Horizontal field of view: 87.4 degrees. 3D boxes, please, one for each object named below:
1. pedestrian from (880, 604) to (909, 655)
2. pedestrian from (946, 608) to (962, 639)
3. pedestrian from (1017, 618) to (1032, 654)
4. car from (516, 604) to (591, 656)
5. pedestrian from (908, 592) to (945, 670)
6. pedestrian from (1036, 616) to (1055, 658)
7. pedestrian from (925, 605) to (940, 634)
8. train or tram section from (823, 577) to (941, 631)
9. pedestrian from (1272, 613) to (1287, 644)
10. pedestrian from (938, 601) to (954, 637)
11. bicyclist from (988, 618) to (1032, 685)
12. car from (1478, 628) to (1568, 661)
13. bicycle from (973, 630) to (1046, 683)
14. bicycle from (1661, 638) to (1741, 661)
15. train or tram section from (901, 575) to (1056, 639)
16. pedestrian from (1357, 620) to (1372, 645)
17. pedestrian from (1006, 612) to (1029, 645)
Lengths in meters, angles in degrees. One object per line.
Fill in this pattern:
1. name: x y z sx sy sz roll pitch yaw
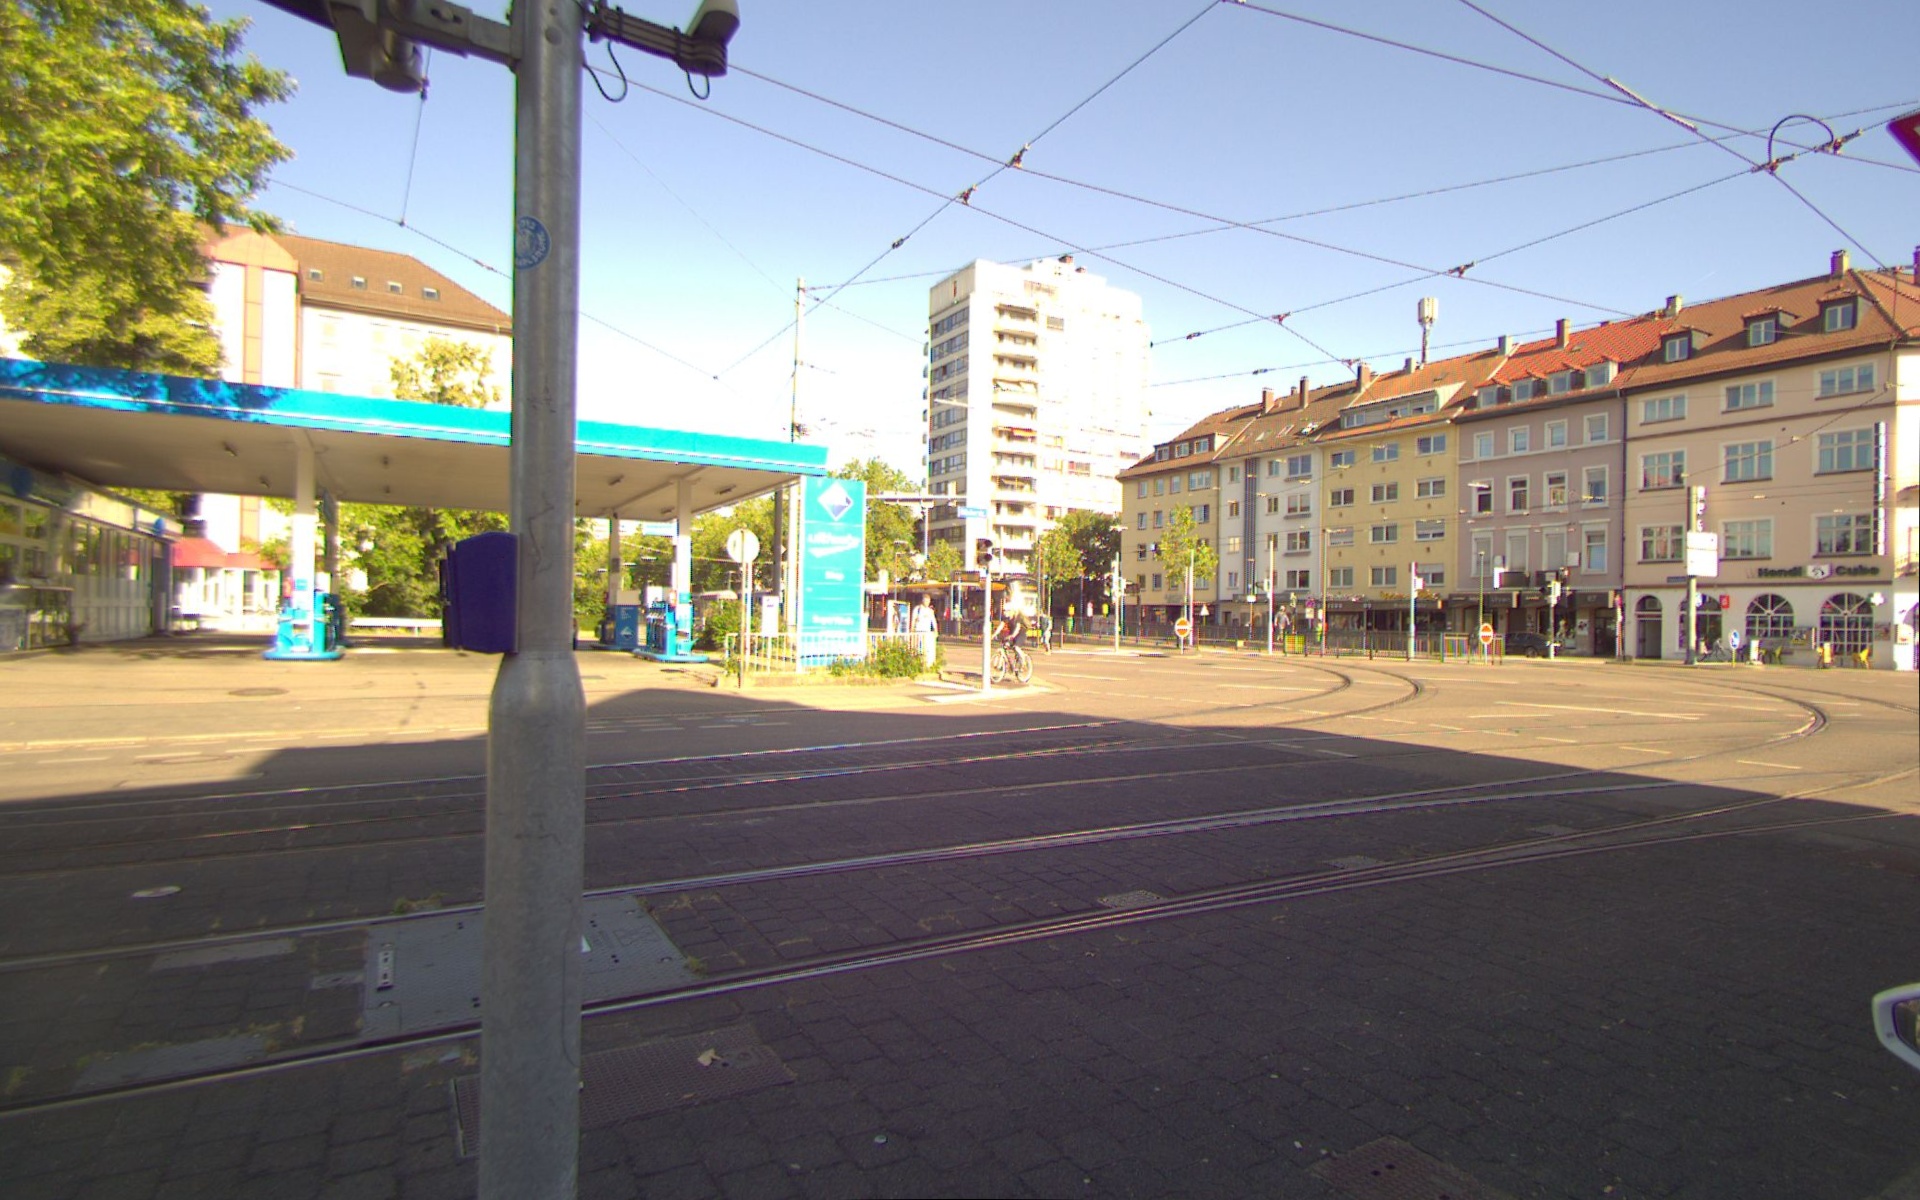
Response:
1. pedestrian: -2.169 0.986 33.409 0.675 1.656 0.694 2 0 -35
2. pedestrian: -0.313 1.229 52.854 0.580 1.613 0.520 2 0 -31
3. pedestrian: 3.120 1.733 48.498 0.575 1.686 0.525 2 0 15
4. car: -12.321 0.870 30.320 1.764 1.411 3.455 2 0 -28
5. pedestrian: -0.837 0.771 25.175 0.778 1.893 0.674 2 0 6
6. pedestrian: 3.342 1.450 39.447 0.691 1.608 0.823 1 -1 7
7. pedestrian: -1.538 1.069 56.187 0.580 1.613 0.520 2 0 -31
8. train or tram section: -5.529 0.200 68.065 2.751 3.273 12.286 2 0 -31
9. pedestrian: 17.326 1.530 54.444 0.570 1.649 0.522 2 0 -31
10. pedestrian: -0.744 1.011 54.250 0.666 1.913 0.520 2 0 -31
11. bicyclist: 1.080 1.101 21.653 0.552 1.384 0.798 2 0 42
12. car: 30.850 2.420 55.138 1.970 1.692 3.981 1 -1 -21
13. bicycle: 1.089 1.204 21.722 0.566 1.084 1.785 2 0 41
14. bicycle: 37.494 2.494 50.893 0.989 0.993 3.115 2 0 -29
15. train or tram section: 0.725 0.337 57.565 2.751 3.273 12.286 2 0 -31
16. pedestrian: 27.474 2.203 68.187 0.693 1.656 0.629 2 0 -33
17. pedestrian: 2.673 1.330 47.049 0.814 1.532 0.699 1 -1 -33
